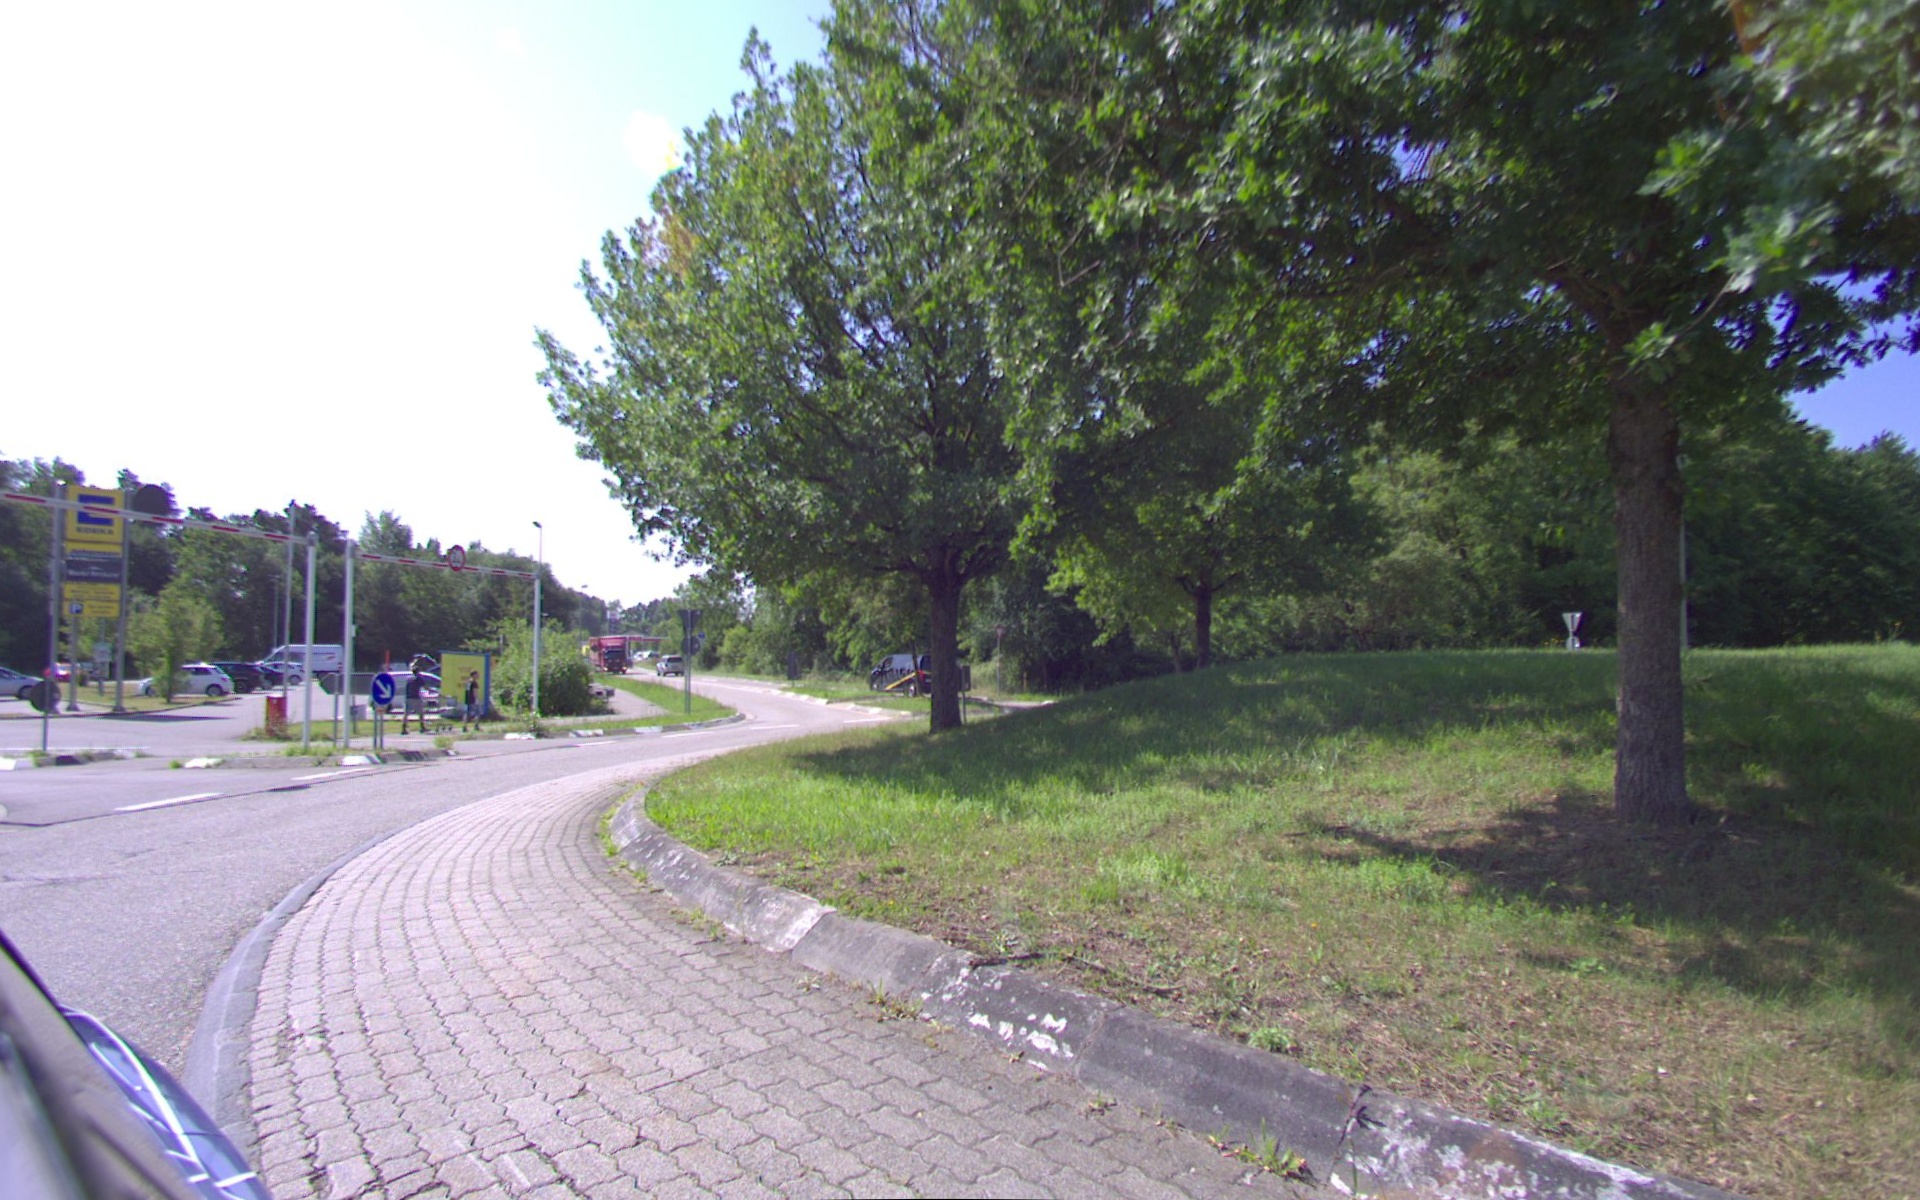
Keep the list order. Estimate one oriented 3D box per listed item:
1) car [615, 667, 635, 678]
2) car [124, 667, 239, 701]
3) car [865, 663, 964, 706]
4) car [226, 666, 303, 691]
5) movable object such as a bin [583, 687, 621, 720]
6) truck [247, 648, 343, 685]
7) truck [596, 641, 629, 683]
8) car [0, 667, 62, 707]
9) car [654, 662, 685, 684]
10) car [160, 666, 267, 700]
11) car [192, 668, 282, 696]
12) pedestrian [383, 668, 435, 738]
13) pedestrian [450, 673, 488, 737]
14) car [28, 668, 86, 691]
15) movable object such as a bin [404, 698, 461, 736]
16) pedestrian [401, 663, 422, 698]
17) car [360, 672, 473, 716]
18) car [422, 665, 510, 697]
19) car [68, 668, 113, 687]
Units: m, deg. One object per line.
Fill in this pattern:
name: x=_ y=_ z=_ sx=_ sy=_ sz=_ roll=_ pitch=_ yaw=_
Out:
car: x=-42.468 y=9.212 z=128.403 sx=1.807 sy=1.398 sz=4.438 roll=2 pitch=-5 yaw=-26
car: x=-36.098 y=3.889 z=47.047 sx=3.930 sy=1.453 sz=1.656 roll=1 pitch=-4 yaw=-25
car: x=-2.026 y=3.615 z=43.699 sx=2.066 sy=1.728 sz=4.730 roll=1 pitch=-4 yaw=-34
car: x=-44.076 y=4.944 z=64.210 sx=3.908 sy=1.464 sz=1.909 roll=2 pitch=-4 yaw=-35
movable object such as a bin: x=-13.142 y=3.777 z=37.202 sx=0.859 sy=1.129 sz=1.454 roll=-1 pitch=-3 yaw=3
truck: x=-48.483 y=4.853 z=73.970 sx=5.519 sy=2.625 sz=2.210 roll=2 pitch=-4 yaw=-26
truck: x=-33.948 y=6.020 z=98.787 sx=2.675 sy=3.945 sz=5.969 roll=1 pitch=-4 yaw=-21
car: x=-44.652 y=4.047 z=46.727 sx=1.997 sy=1.715 sz=4.501 roll=-3 pitch=-2 yaw=38
car: x=-24.988 y=6.254 z=87.078 sx=1.867 sy=1.830 sz=4.611 roll=1 pitch=-4 yaw=-25
car: x=-38.303 y=4.247 z=52.060 sx=4.094 sy=1.586 sz=2.006 roll=1 pitch=-4 yaw=-28
car: x=-40.409 y=4.565 z=56.690 sx=3.932 sy=1.438 sz=1.754 roll=2 pitch=-4 yaw=-32
pedestrian: x=-14.618 y=2.729 z=26.874 sx=0.870 sy=1.799 sz=0.841 roll=-1 pitch=-4 yaw=6
pedestrian: x=-13.161 y=2.804 z=27.130 sx=0.695 sy=1.661 sz=0.595 roll=-1 pitch=-4 yaw=7
car: x=-62.164 y=5.428 z=69.657 sx=4.484 sy=1.477 sz=1.976 roll=-3 pitch=-4 yaw=35
movable object such as a bin: x=-14.518 y=3.205 z=27.876 sx=0.869 sy=0.962 sz=1.202 roll=-1 pitch=-4 yaw=5
pedestrian: x=-28.166 y=4.128 z=52.000 sx=0.807 sy=1.811 sz=0.869 roll=1 pitch=-4 yaw=-23
car: x=-20.406 y=3.502 z=38.152 sx=3.543 sy=1.574 sz=1.819 roll=2 pitch=-4 yaw=-22
car: x=-25.887 y=4.239 z=53.204 sx=4.061 sy=1.640 sz=1.758 roll=1 pitch=-4 yaw=-23
car: x=-70.001 y=6.198 z=81.481 sx=3.996 sy=1.497 sz=2.044 roll=-3 pitch=-5 yaw=39
